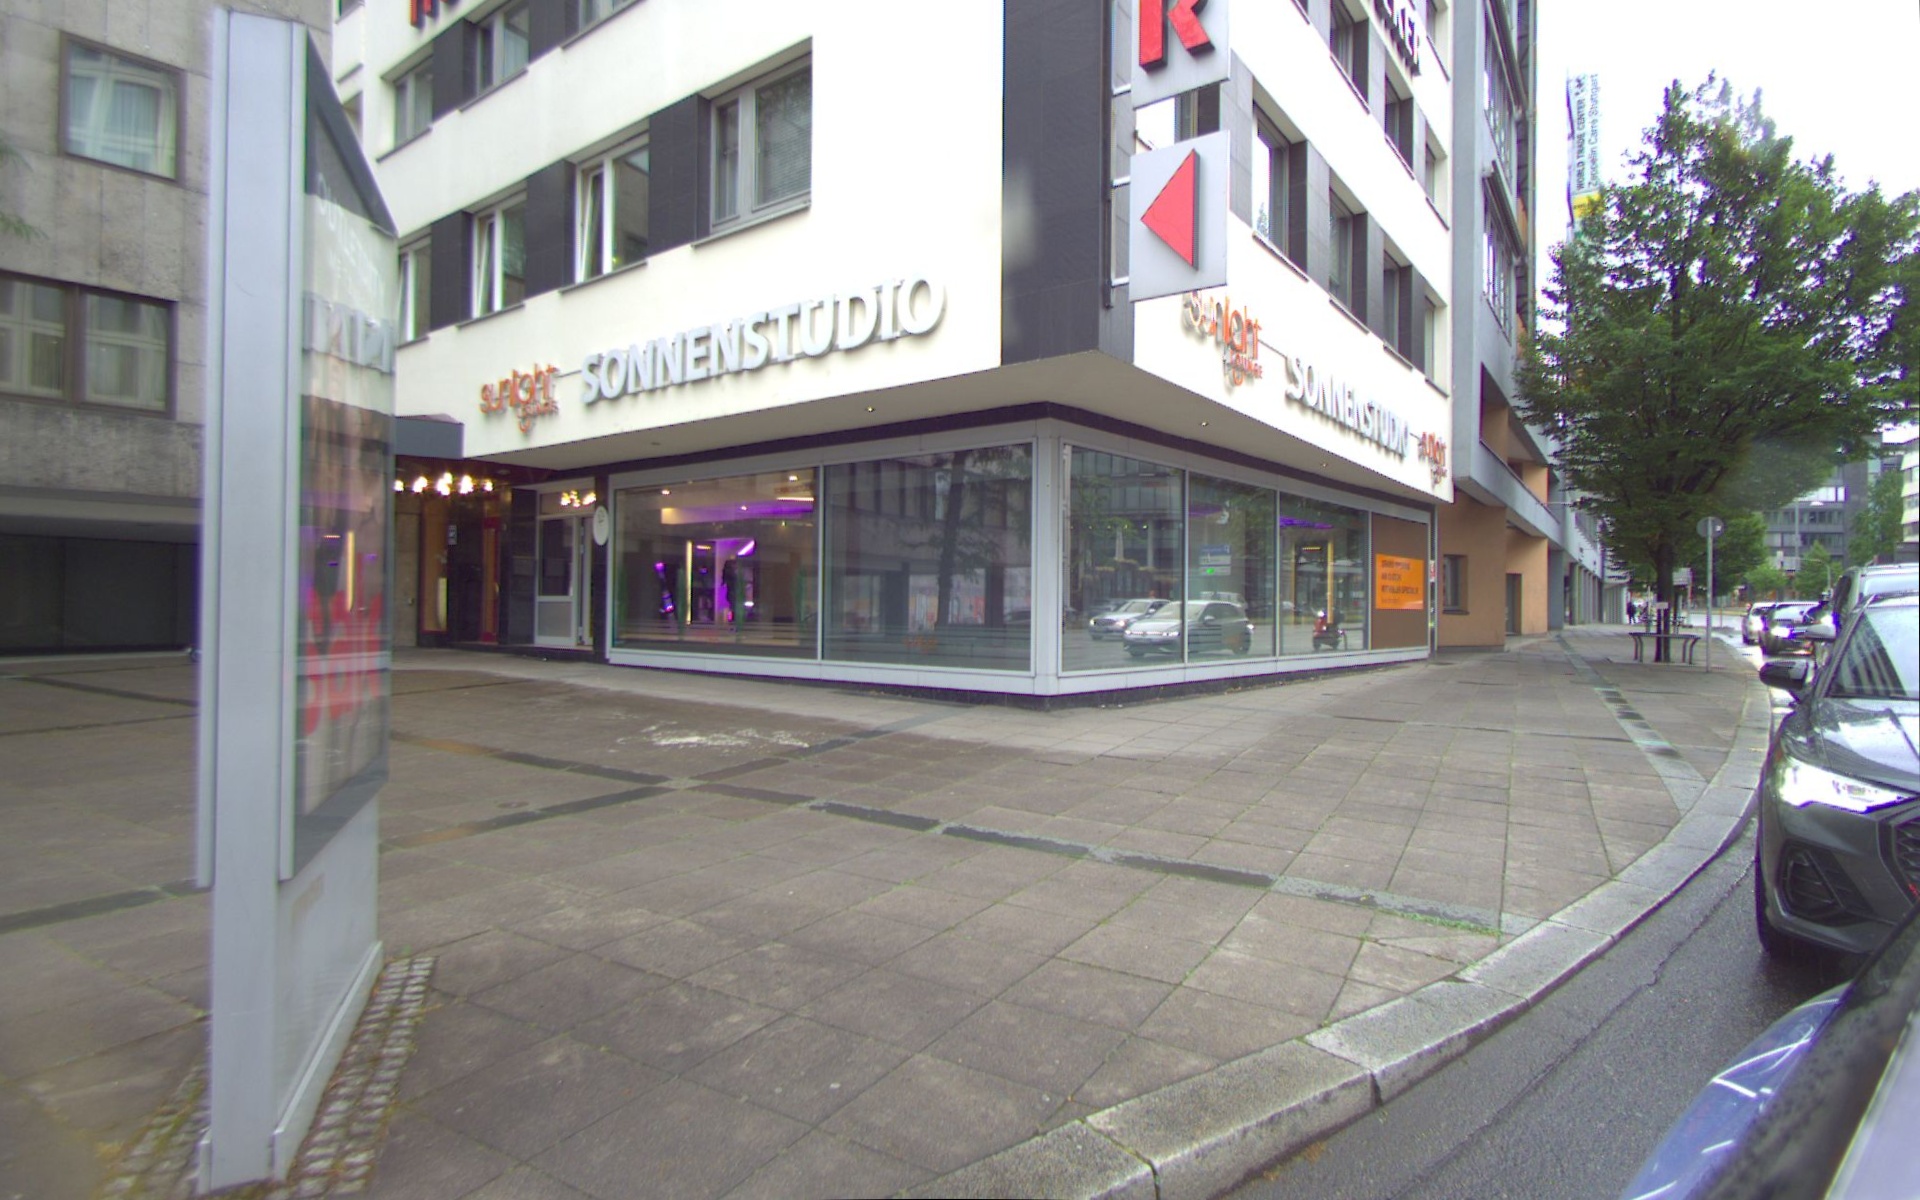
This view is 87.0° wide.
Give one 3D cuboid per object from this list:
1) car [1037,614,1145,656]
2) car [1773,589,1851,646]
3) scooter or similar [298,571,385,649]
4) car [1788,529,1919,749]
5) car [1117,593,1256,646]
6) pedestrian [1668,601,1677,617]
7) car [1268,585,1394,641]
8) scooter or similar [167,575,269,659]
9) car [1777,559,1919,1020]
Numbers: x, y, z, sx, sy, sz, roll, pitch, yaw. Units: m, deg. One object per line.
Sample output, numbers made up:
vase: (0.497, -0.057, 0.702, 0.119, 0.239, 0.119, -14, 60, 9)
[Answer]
car: (4.514, 1.214, 35.036, 3.365, 1.347, 1.548, -2, 0, 34)
car: (24.204, 0.467, 28.774, 1.593, 1.487, 3.398, -2, 0, 40)
scooter or similar: (-11.096, 0.177, 18.177, 0.516, 1.354, 1.215, -2, -1, 37)
car: (10.364, 0.294, 10.336, 4.960, 1.916, 2.058, -1, 0, -40)
car: (5.941, 0.469, 26.268, 1.716, 1.209, 3.937, -2, 0, 44)
pedestrian: (73.060, 0.925, 103.805, 0.648, 1.618, 1.047, -2, -1, 30)
car: (12.077, 0.380, 32.750, 1.993, 1.629, 4.849, -2, 0, 44)
scooter or similar: (-11.809, 0.247, 16.125, 0.562, 1.269, 1.215, 1, 1, 37)
car: (5.152, 0.602, 4.614, 1.797, 1.572, 4.318, -2, 0, 44)
